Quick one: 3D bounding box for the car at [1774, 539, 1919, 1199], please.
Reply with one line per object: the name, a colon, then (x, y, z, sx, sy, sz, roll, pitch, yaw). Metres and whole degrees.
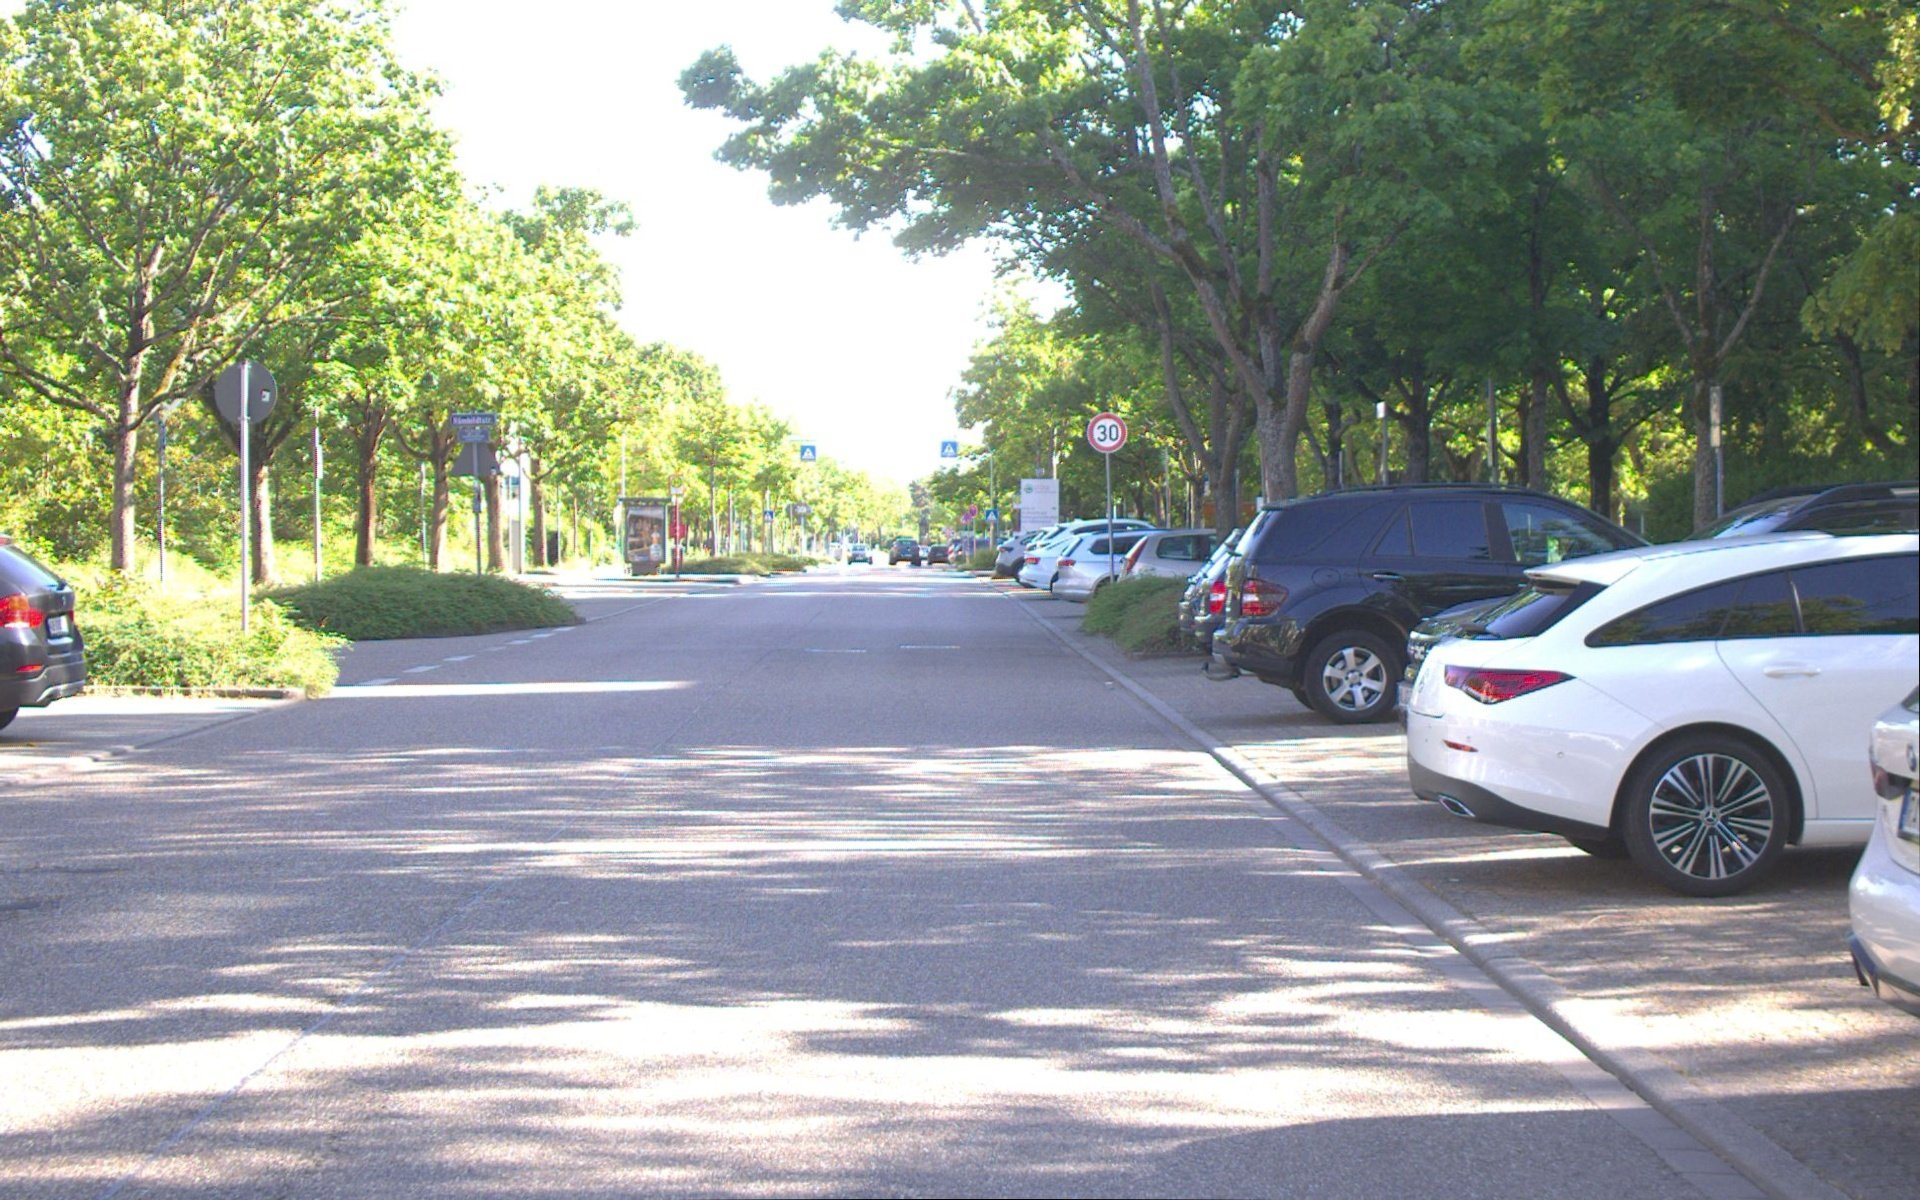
car: (4.472, 0.577, 8.445, 4.426, 1.587, 1.837, -2, 1, -3)

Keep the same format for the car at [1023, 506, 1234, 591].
car: (3.682, -1.147, 75.594, 4.435, 1.642, 1.816, -3, 1, -2)

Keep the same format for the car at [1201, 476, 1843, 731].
car: (4.253, 0.008, 26.580, 4.587, 1.773, 2.000, -2, 1, 0)

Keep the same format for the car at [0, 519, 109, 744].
car: (-8.304, 0.172, 24.158, 4.192, 1.515, 1.772, 1, 1, 0)

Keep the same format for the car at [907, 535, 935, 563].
car: (-2.808, -3.723, 250.173, 1.993, 2.007, 4.000, 1, 1, 0)

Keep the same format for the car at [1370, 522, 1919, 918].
car: (4.100, 0.472, 14.476, 4.441, 1.540, 1.818, 1, 1, -3)

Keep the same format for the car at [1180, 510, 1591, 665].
car: (4.373, -0.146, 35.766, 3.987, 1.382, 1.822, -3, 1, 0)

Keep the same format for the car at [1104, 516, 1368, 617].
car: (4.322, -0.538, 54.193, 3.987, 1.446, 1.717, -2, 1, 0)

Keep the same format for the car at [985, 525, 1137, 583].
car: (2.847, -1.309, 97.260, 4.164, 1.423, 2.000, -3, 1, 0)

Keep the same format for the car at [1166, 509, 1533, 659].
car: (4.330, -0.195, 38.547, 3.808, 1.494, 1.702, -2, 1, -3)

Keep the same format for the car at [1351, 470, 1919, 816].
car: (4.207, 0.182, 17.635, 4.118, 1.612, 1.734, -2, 0, -2)

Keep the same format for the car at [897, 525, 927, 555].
car: (-3.314, -4.157, 237.753, 1.993, 2.007, 4.000, 1, 1, 0)

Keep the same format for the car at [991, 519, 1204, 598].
car: (2.886, -0.884, 72.895, 4.342, 1.484, 1.738, -2, 1, -2)

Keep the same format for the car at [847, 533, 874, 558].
car: (-7.155, -3.924, 248.544, 1.828, 1.769, 3.740, 1, 1, 0)

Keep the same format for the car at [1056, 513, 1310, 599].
car: (3.831, -0.758, 59.003, 4.275, 1.423, 1.827, 0, 1, 4)
